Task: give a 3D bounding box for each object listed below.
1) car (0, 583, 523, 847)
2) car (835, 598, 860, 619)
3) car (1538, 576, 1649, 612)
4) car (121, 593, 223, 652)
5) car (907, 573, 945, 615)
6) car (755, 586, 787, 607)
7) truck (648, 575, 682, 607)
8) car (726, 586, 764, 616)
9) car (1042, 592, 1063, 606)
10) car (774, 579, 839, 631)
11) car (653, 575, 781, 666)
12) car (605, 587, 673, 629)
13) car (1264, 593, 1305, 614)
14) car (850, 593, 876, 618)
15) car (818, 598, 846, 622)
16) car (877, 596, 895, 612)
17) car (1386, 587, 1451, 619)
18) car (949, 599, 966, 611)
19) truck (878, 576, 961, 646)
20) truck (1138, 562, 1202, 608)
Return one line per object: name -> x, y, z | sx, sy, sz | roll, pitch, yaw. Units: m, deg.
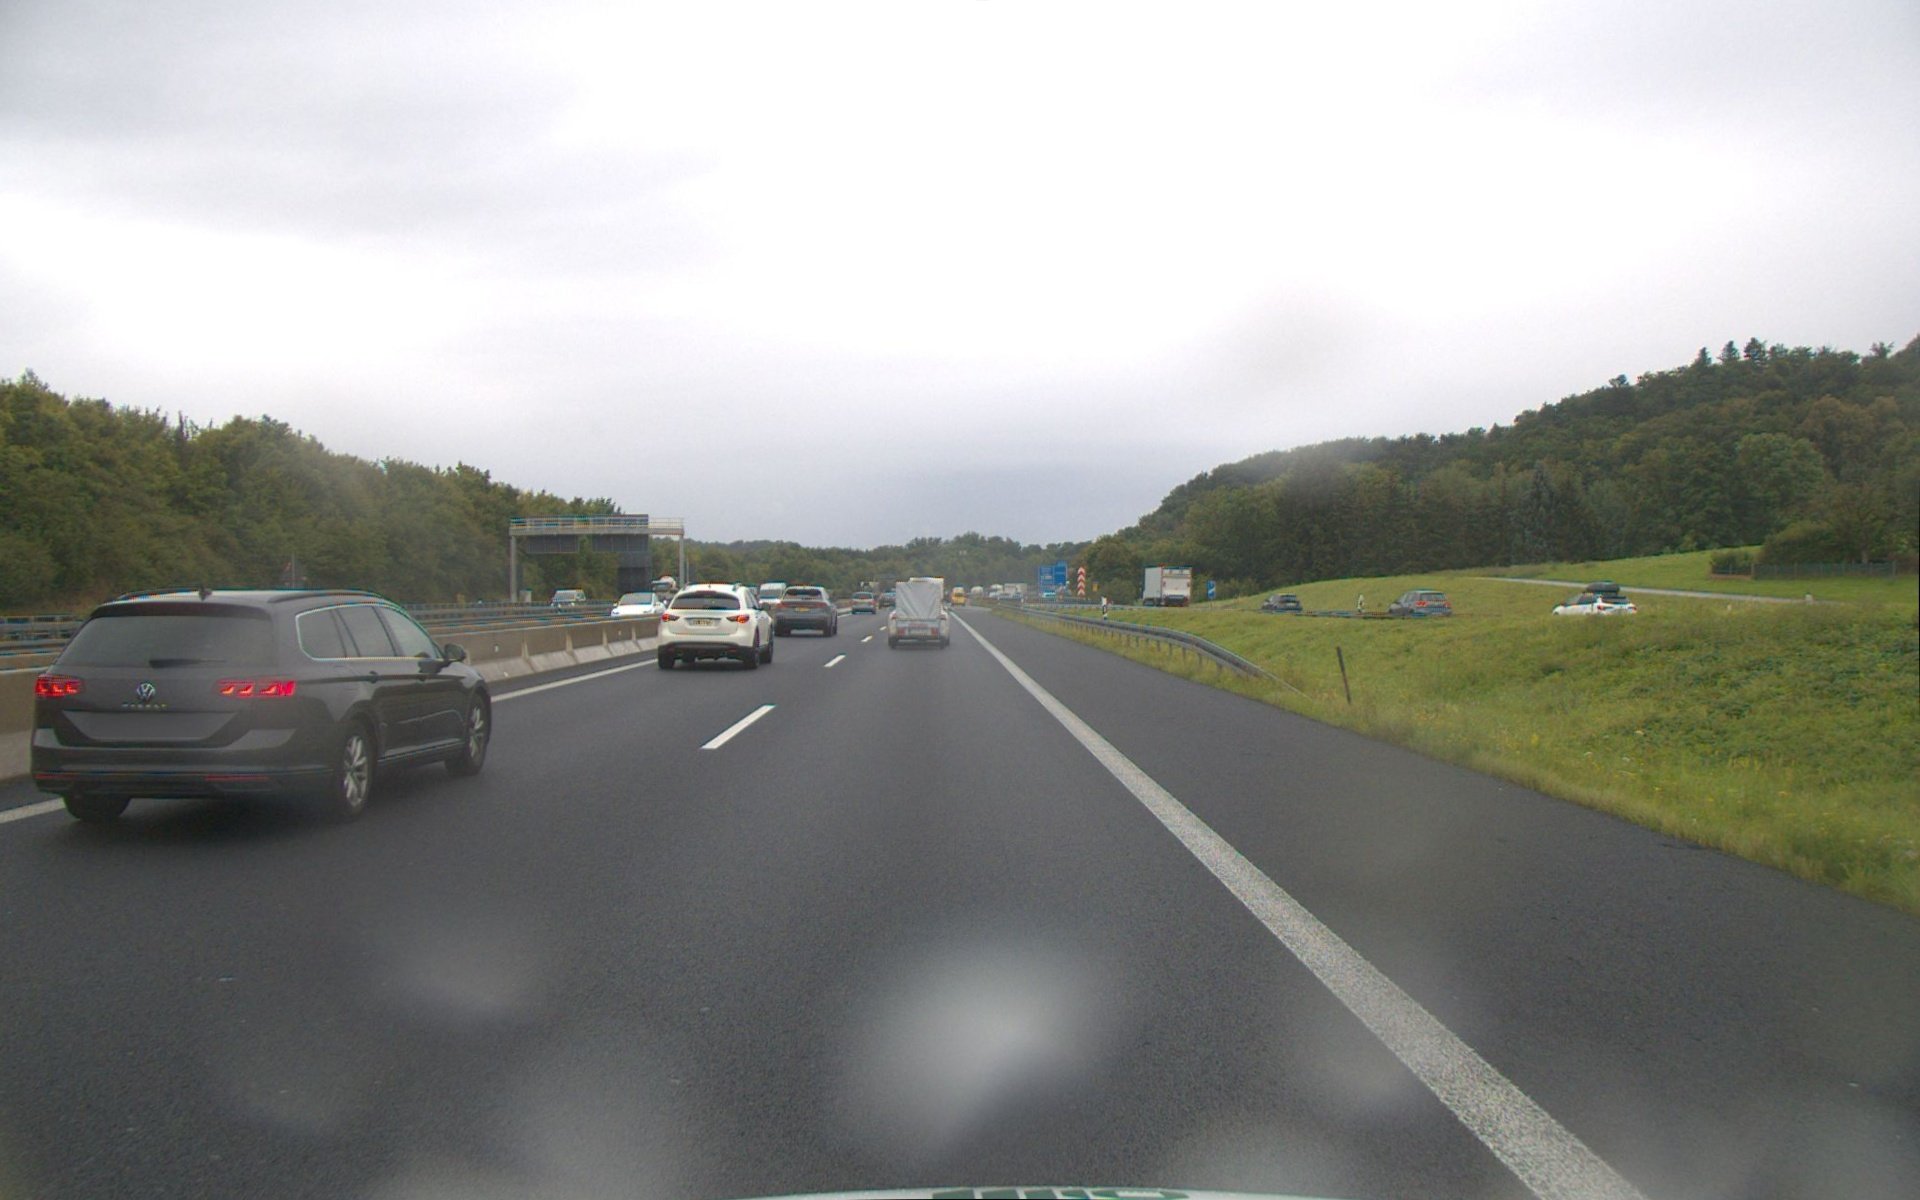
car -> -4.639, 0.640, 11.761 | 1.750, 1.484, 4.802 | 0, 0, 0
car -> -9.090, 0.699, 134.204 | 1.782, 1.691, 4.016 | 0, 0, -1
car -> 25.424, -0.222, 66.606 | 1.949, 1.401, 5.068 | 0, 0, -9
car -> -28.358, 0.787, 59.660 | 1.640, 2.049, 4.277 | 0, 0, 0
car -> -2.340, -0.398, 112.042 | 2.285, 2.773, 6.534 | 0, 0, -4
car -> -15.759, -0.282, 138.385 | 2.311, 1.722, 5.903 | 0, 0, -3
truck -> -35.181, -1.107, 197.586 | 2.631, 3.725, 9.554 | -1, 0, -2
car -> -13.998, 0.061, 107.871 | 1.953, 1.868, 4.677 | 1, 0, -2
car -> 10.680, -0.124, 191.224 | 1.954, 1.579, 3.997 | 1, 0, -4
car -> -5.367, 0.172, 58.483 | 1.936, 1.733, 4.801 | 1, 0, -1
car -> -4.852, 0.377, 33.605 | 2.007, 1.700, 4.539 | 1, 0, -2
car -> -14.280, 0.337, 73.834 | 2.112, 1.796, 4.959 | 0, 0, -1
car -> 21.369, 0.226, 109.007 | 1.665, 1.311, 3.530 | 1, 0, -7
car -> -7.202, 0.417, 123.115 | 1.703, 1.825, 3.999 | 1, 0, -1
car -> -9.372, 0.734, 121.221 | 1.782, 1.691, 4.016 | 0, 0, -1
car -> -7.444, 0.415, 165.793 | 1.612, 1.601, 3.999 | 1, 0, -1
car -> 20.122, 0.133, 72.699 | 1.510, 1.311, 3.530 | 1, 0, -7
car -> -0.314, 0.662, 228.622 | 1.955, 1.579, 3.995 | 1, 0, -6
truck -> -1.195, 0.274, 47.885 | 2.197, 1.871, 6.582 | 1, 0, -2
truck -> 17.862, -1.287, 141.148 | 3.750, 3.723, 8.264 | 1, 0, -5
